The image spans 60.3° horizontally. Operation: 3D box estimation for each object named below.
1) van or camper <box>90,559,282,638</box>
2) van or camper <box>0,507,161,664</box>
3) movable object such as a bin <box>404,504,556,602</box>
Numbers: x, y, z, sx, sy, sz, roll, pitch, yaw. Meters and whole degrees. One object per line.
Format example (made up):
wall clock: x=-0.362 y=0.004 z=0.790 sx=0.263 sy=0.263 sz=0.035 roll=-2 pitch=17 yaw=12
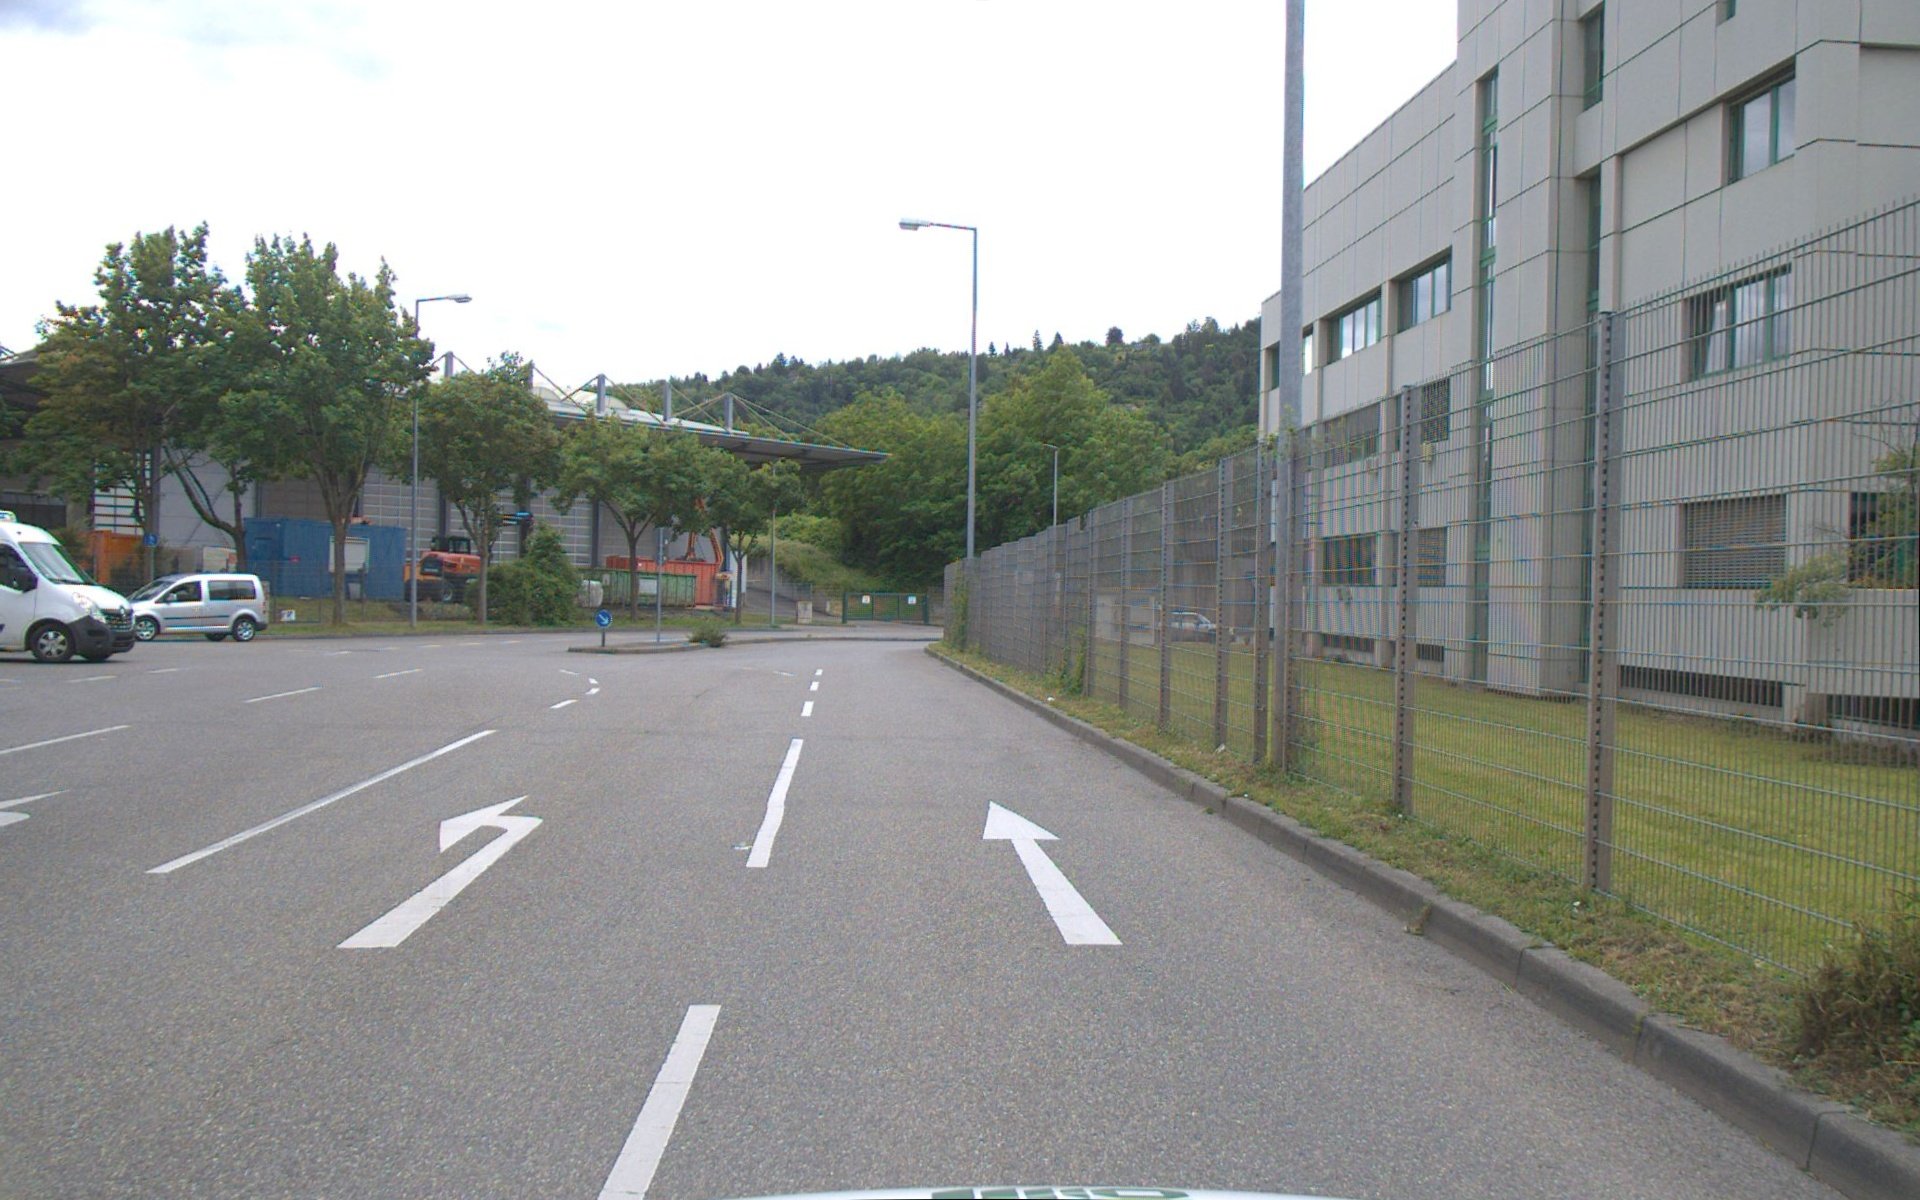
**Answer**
van or camper: x=-20.777 y=-0.040 z=44.521 sx=1.921 sy=1.997 sz=4.256 roll=2 pitch=1 yaw=38
van or camper: x=-17.571 y=-0.336 z=28.928 sx=5.968 sy=2.601 sz=2.271 roll=2 pitch=1 yaw=-4
movable object such as a bin: x=-21.454 y=-2.038 z=74.254 sx=2.674 sy=4.162 sz=6.540 roll=0 pitch=0 yaw=30
